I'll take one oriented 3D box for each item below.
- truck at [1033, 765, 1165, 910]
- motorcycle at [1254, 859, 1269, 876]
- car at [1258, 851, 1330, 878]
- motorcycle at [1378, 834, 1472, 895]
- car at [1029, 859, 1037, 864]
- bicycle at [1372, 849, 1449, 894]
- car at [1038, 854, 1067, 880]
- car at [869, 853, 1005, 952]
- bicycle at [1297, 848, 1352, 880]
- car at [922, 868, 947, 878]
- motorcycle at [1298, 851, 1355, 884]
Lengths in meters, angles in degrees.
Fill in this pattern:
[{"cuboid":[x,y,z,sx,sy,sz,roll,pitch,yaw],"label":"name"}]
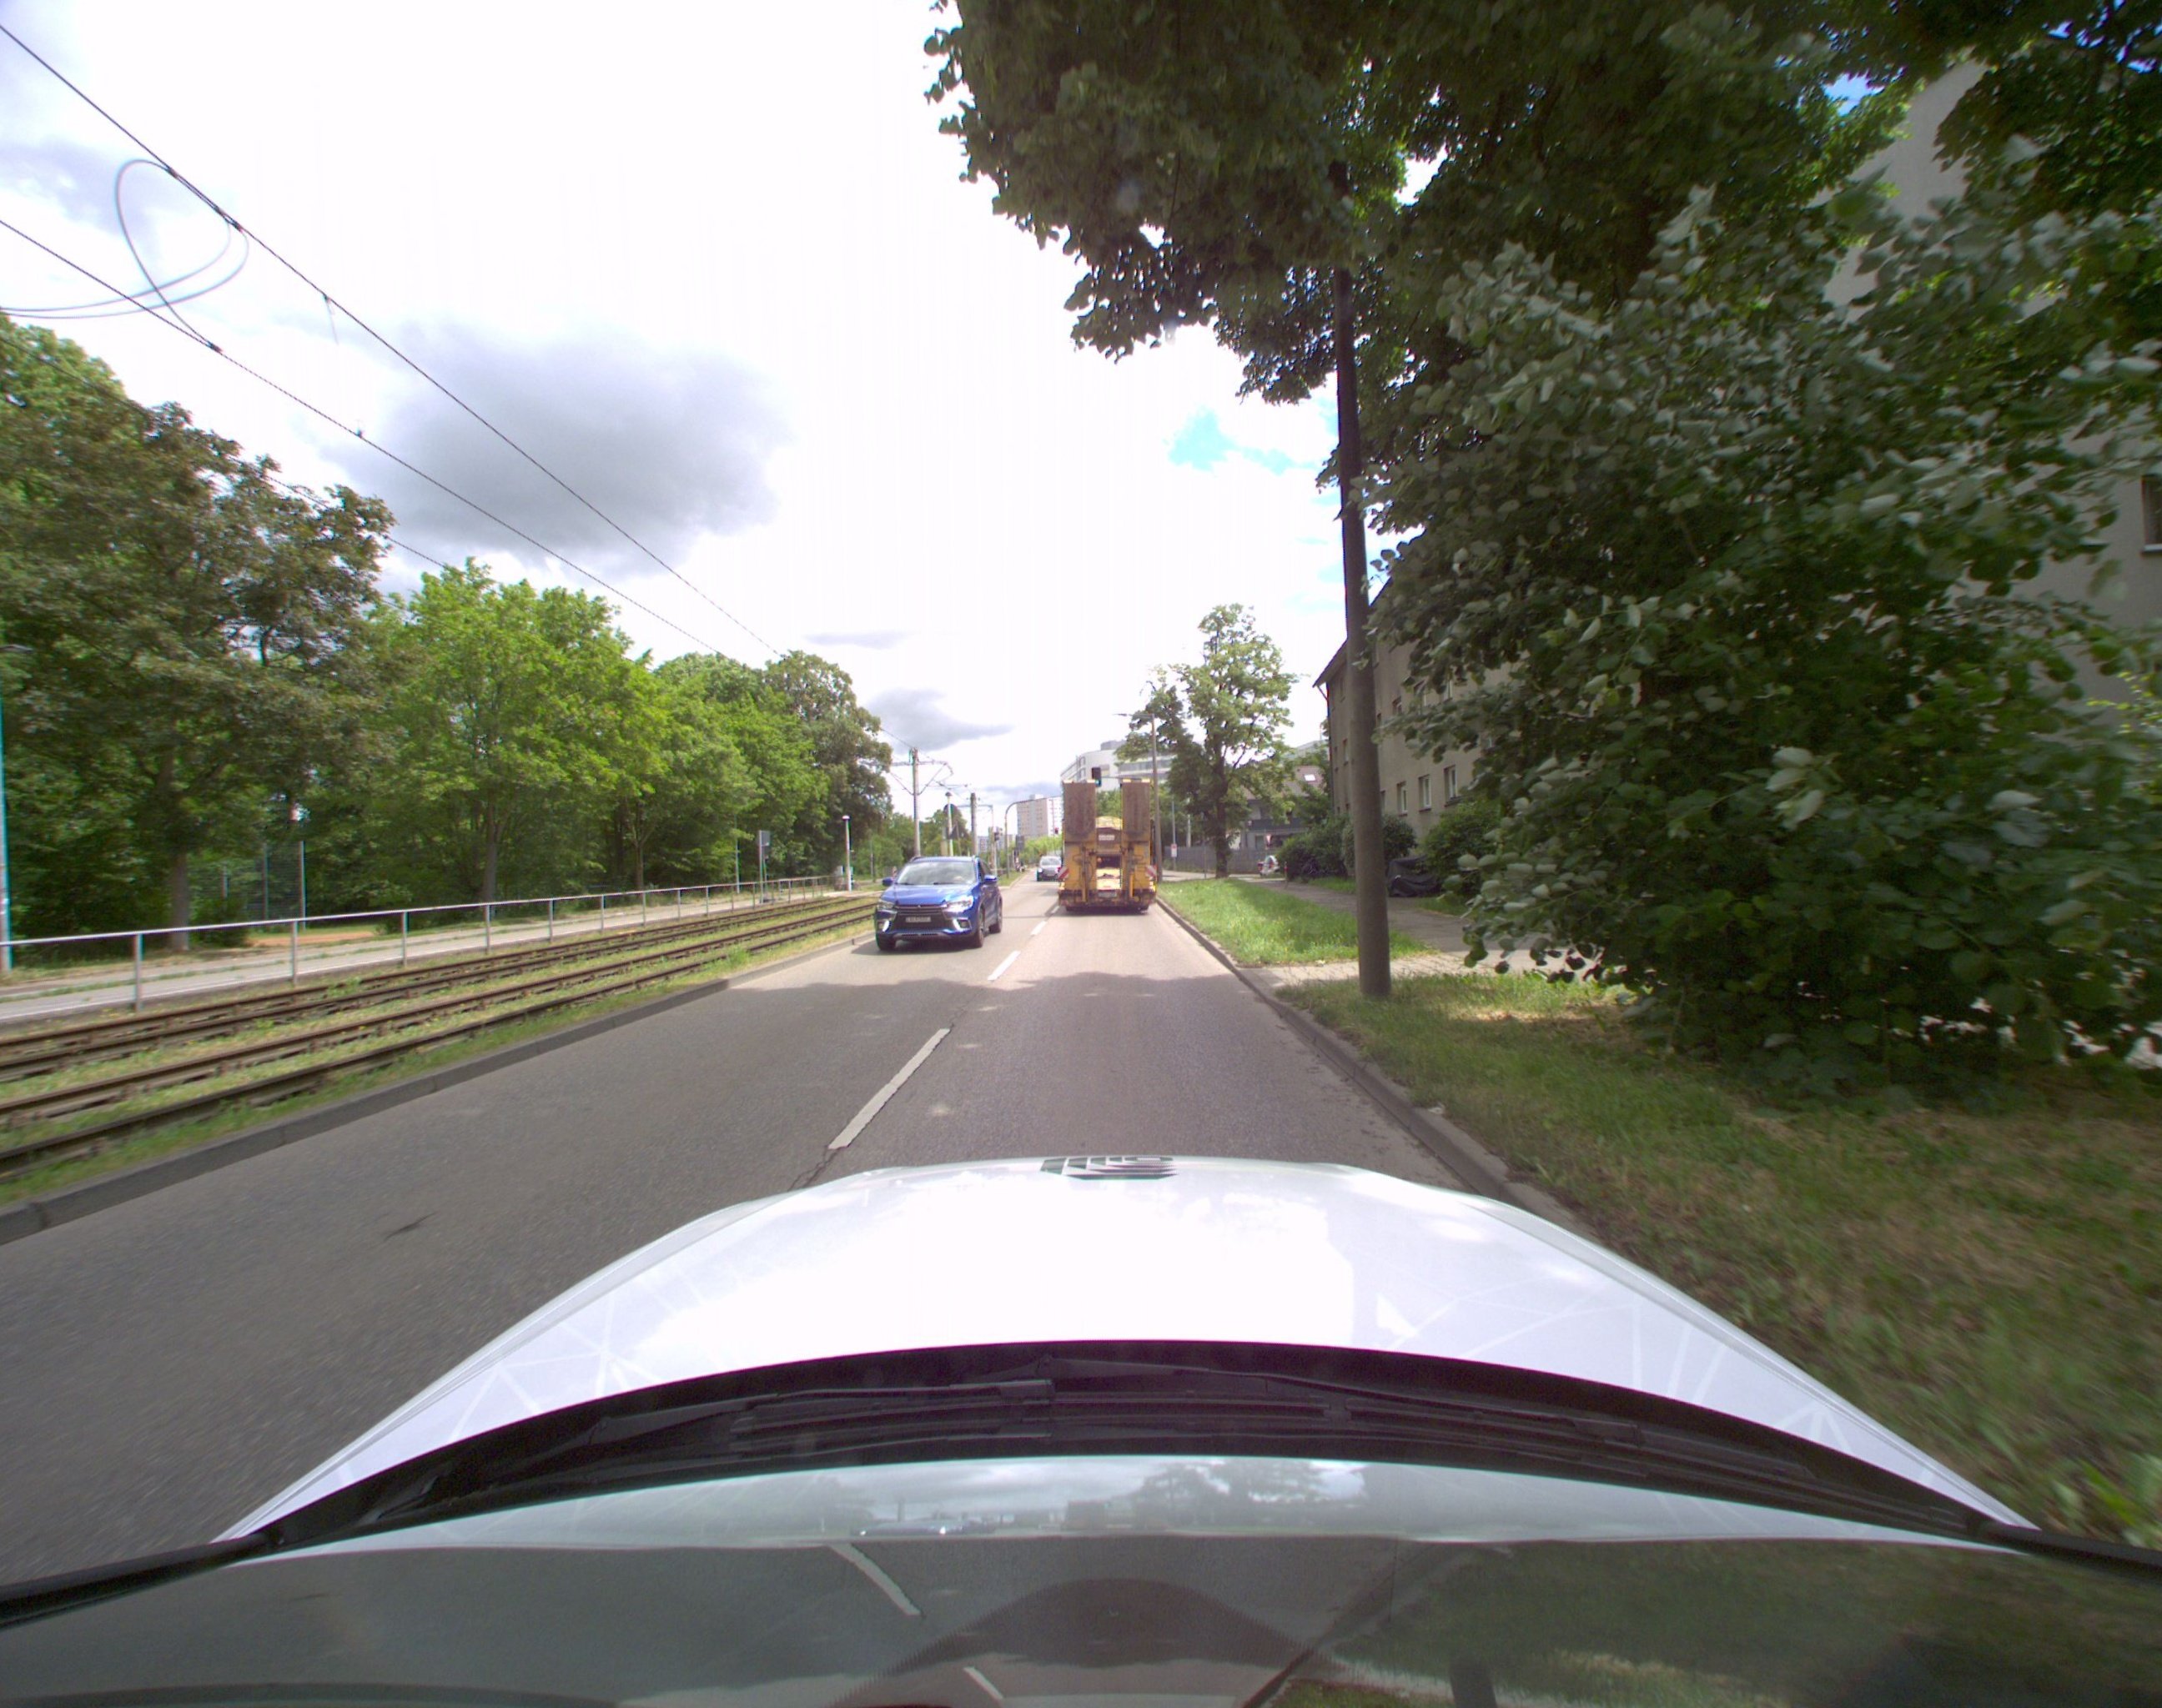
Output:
[{"cuboid":[0.484,-0.329,27.107,3.305,3.651,12.559,-1,-1,0],"label":"truck"},{"cuboid":[12.742,0.933,57.406,0.653,1.149,2.437,-1,-1,20],"label":"motorcycle"},{"cuboid":[13.480,0.670,51.601,3.982,1.554,1.935,-1,0,-7],"label":"car"},{"cuboid":[8.629,0.264,20.529,1.984,1.429,1.020,-3,0,12],"label":"motorcycle"},{"cuboid":[-12.531,2.025,214.260,1.990,1.420,3.992,-1,-1,-5],"label":"car"},{"cuboid":[8.695,0.459,21.540,1.788,1.085,0.456,-3,0,6],"label":"bicycle"},{"cuboid":[-1.851,0.848,54.139,1.702,1.676,4.227,-1,0,0],"label":"car"},{"cuboid":[-2.508,0.771,15.195,1.707,1.566,4.167,-1,0,1],"label":"car"},{"cuboid":[10.465,0.425,35.038,2.154,1.282,0.682,-3,-1,9],"label":"bicycle"},{"cuboid":[-24.461,3.181,135.866,3.985,1.552,1.994,-1,-1,-8],"label":"car"},{"cuboid":[10.344,0.558,34.330,2.191,1.282,0.682,-3,-1,9],"label":"motorcycle"}]
